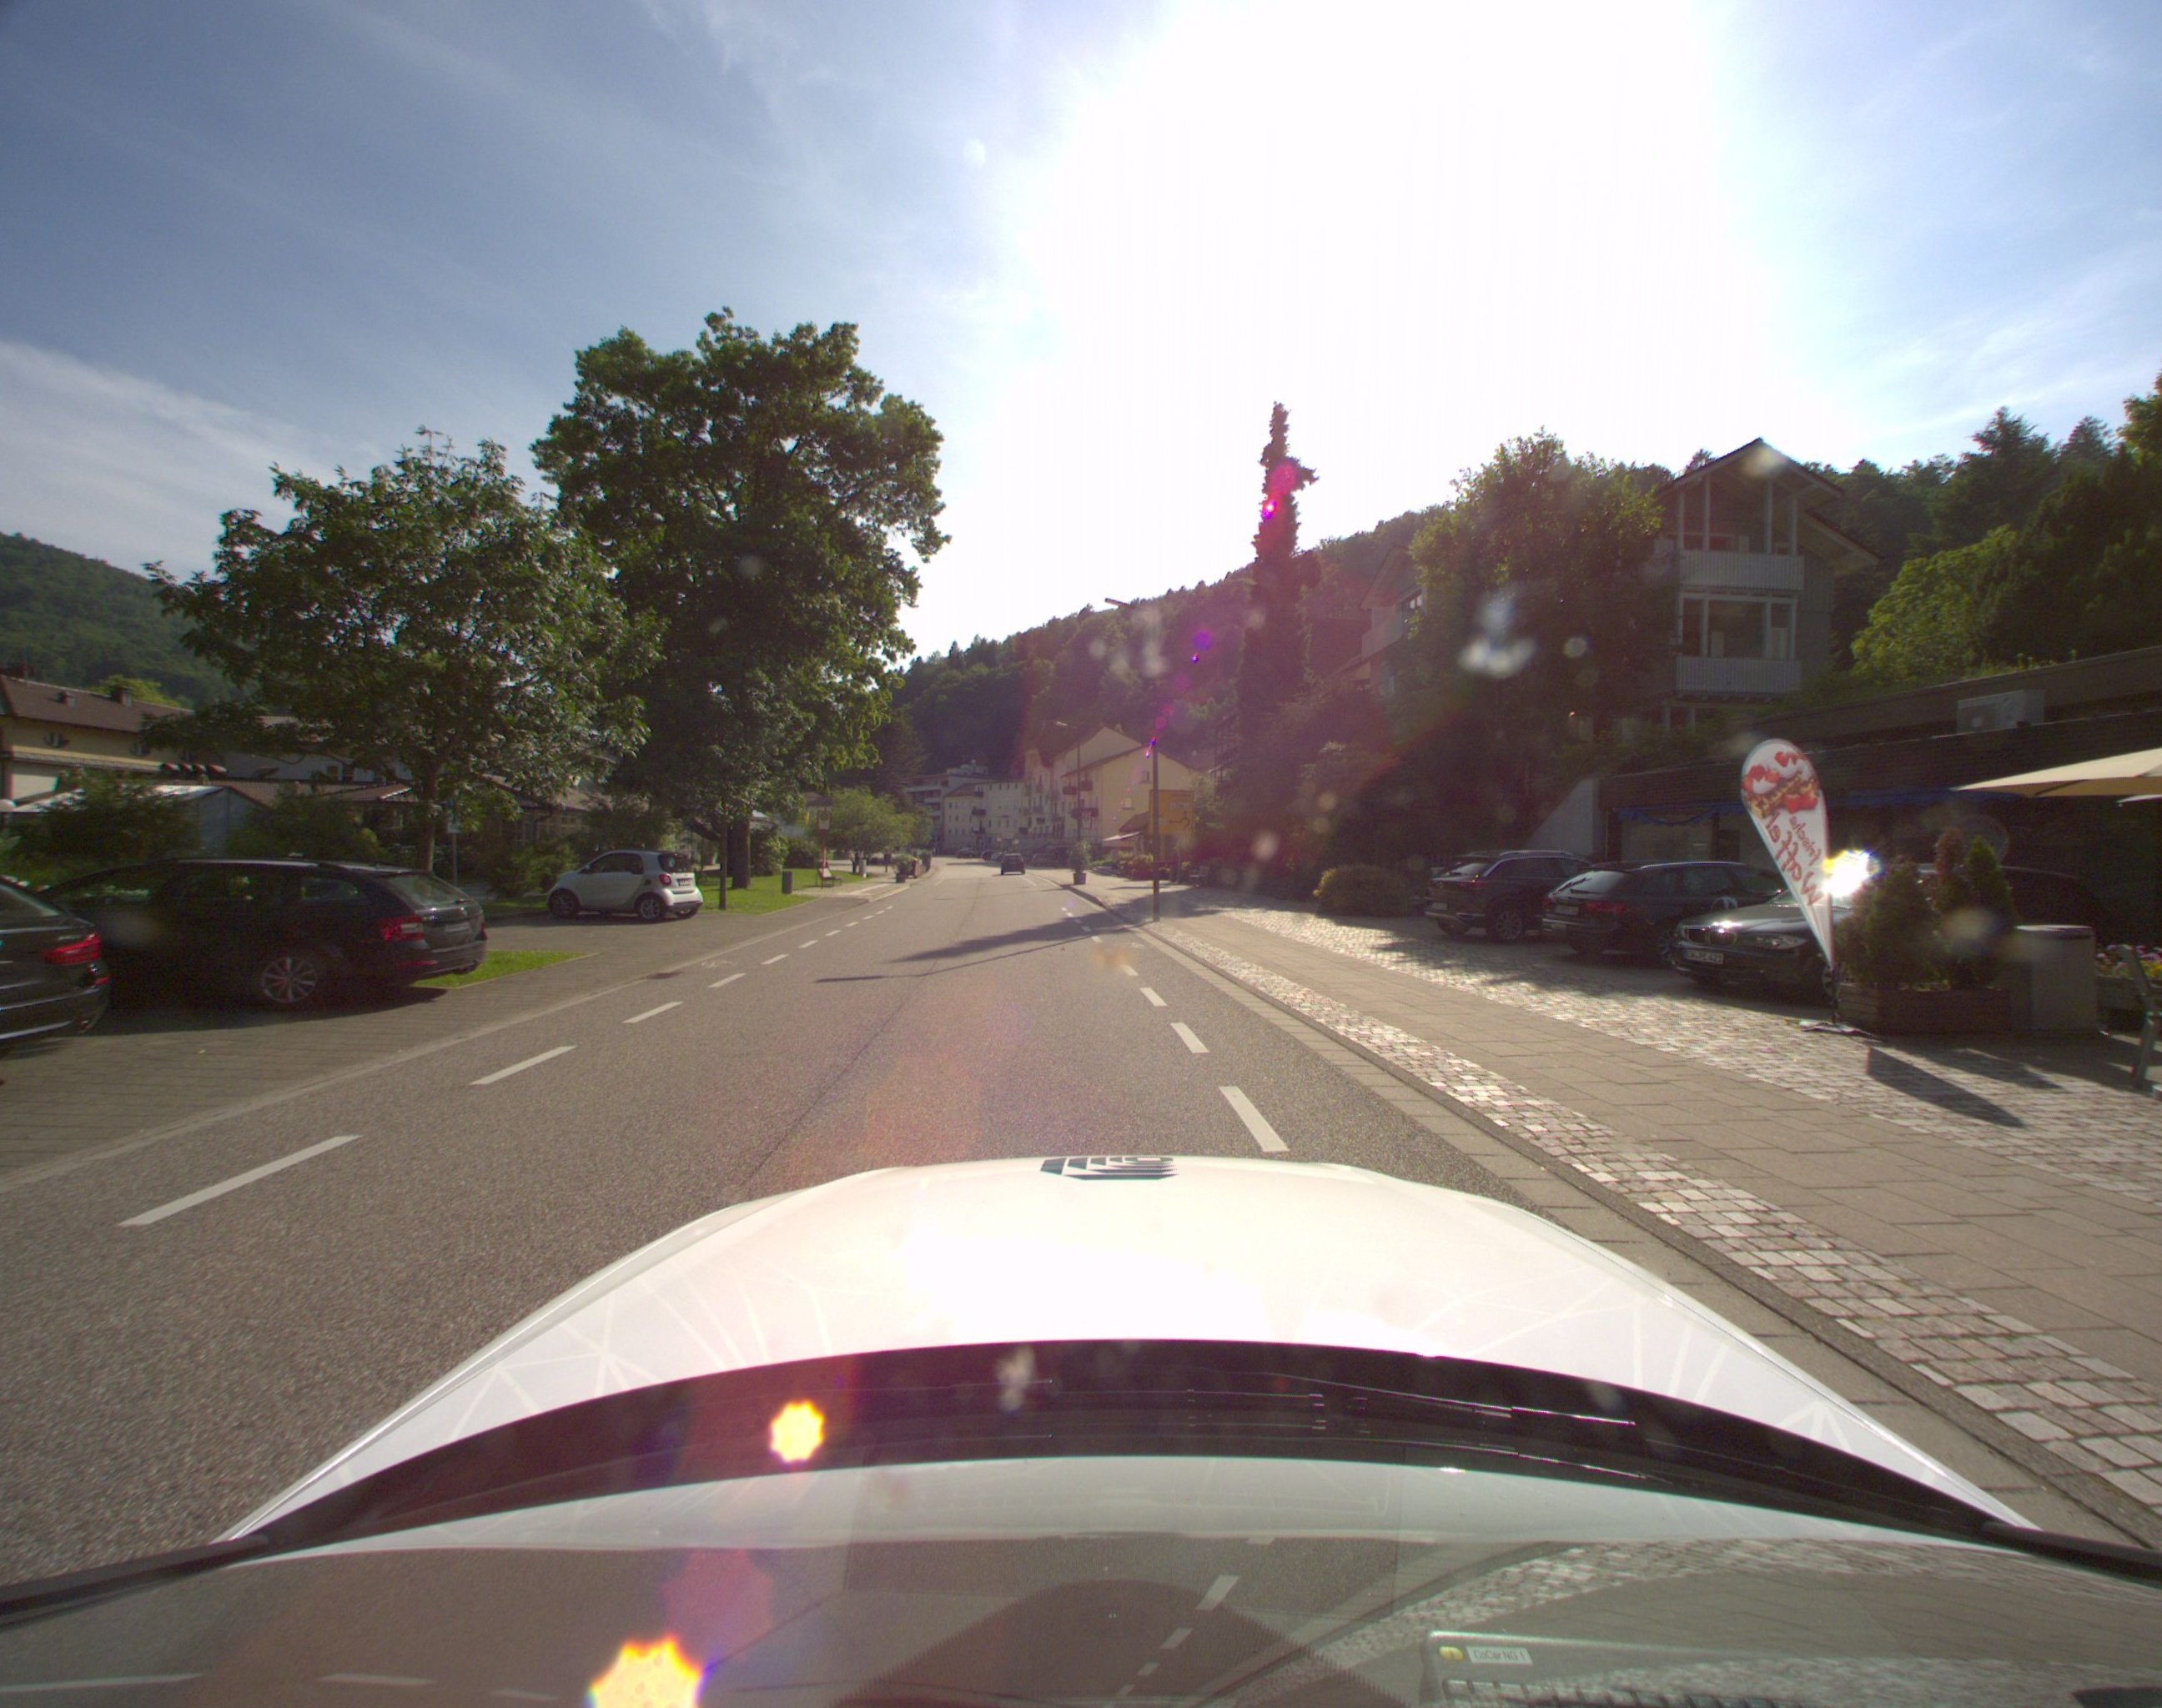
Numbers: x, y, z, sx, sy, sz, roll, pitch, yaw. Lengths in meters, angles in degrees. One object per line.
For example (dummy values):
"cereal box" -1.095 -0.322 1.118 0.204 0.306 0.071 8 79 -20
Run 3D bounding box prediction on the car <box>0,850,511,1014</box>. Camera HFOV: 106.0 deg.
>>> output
"car" -8.710 0.760 8.359 4.277 1.432 1.706 2 -1 -11

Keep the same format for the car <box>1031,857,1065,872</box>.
"car" -4.162 1.324 102.237 3.869 1.554 1.750 3 -1 -18

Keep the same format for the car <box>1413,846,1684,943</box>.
"car" 8.133 0.665 14.386 3.867 1.580 1.746 0 0 -4

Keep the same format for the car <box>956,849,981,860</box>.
"car" -19.474 0.081 141.097 4.007 1.662 1.983 -1 1 -26

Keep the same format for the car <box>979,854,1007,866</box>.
"car" -14.188 0.960 131.148 4.091 1.666 1.764 4 -1 -15

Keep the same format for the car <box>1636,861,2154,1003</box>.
"car" 8.808 0.781 9.033 4.254 1.379 1.707 0 0 -4

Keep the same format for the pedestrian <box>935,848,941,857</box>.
"pedestrian" -27.258 -0.300 155.220 0.674 1.728 0.699 1 0 -38

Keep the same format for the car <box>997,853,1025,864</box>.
"car" -10.357 0.662 120.597 3.916 1.461 1.727 3 0 -15

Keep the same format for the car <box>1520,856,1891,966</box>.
"car" 8.776 0.749 11.651 4.101 1.415 1.746 0 0 -4

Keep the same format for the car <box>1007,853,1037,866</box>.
"car" -8.309 0.837 115.500 3.916 1.589 1.766 3 0 -15

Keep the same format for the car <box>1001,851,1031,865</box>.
"car" -9.424 0.631 118.068 3.916 1.804 1.848 4 -1 -15

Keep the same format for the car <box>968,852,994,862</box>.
"car" -17.096 0.467 138.997 4.040 1.516 1.754 -3 3 -35

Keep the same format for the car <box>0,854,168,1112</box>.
"car" -8.705 0.723 4.719 4.488 1.510 1.709 2 0 -6

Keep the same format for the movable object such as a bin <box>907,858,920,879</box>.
"movable object such as a bin" -11.496 0.985 55.969 0.754 1.341 1.291 2 0 -8

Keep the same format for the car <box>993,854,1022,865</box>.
"car" -11.455 0.833 126.887 4.361 1.461 1.765 2 -2 -13

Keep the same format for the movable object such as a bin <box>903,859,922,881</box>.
"movable object such as a bin" -11.194 1.063 54.051 1.078 1.427 1.373 2 0 -8

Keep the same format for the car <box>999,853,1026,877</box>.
"car" -5.160 0.835 60.973 1.726 1.574 3.742 2 2 -9

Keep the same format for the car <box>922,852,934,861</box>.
"car" -24.783 0.371 131.973 1.741 1.462 4.174 -1 0 -9

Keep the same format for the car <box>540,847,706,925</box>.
"car" -10.124 0.686 18.157 2.642 1.547 1.682 2 -1 1
